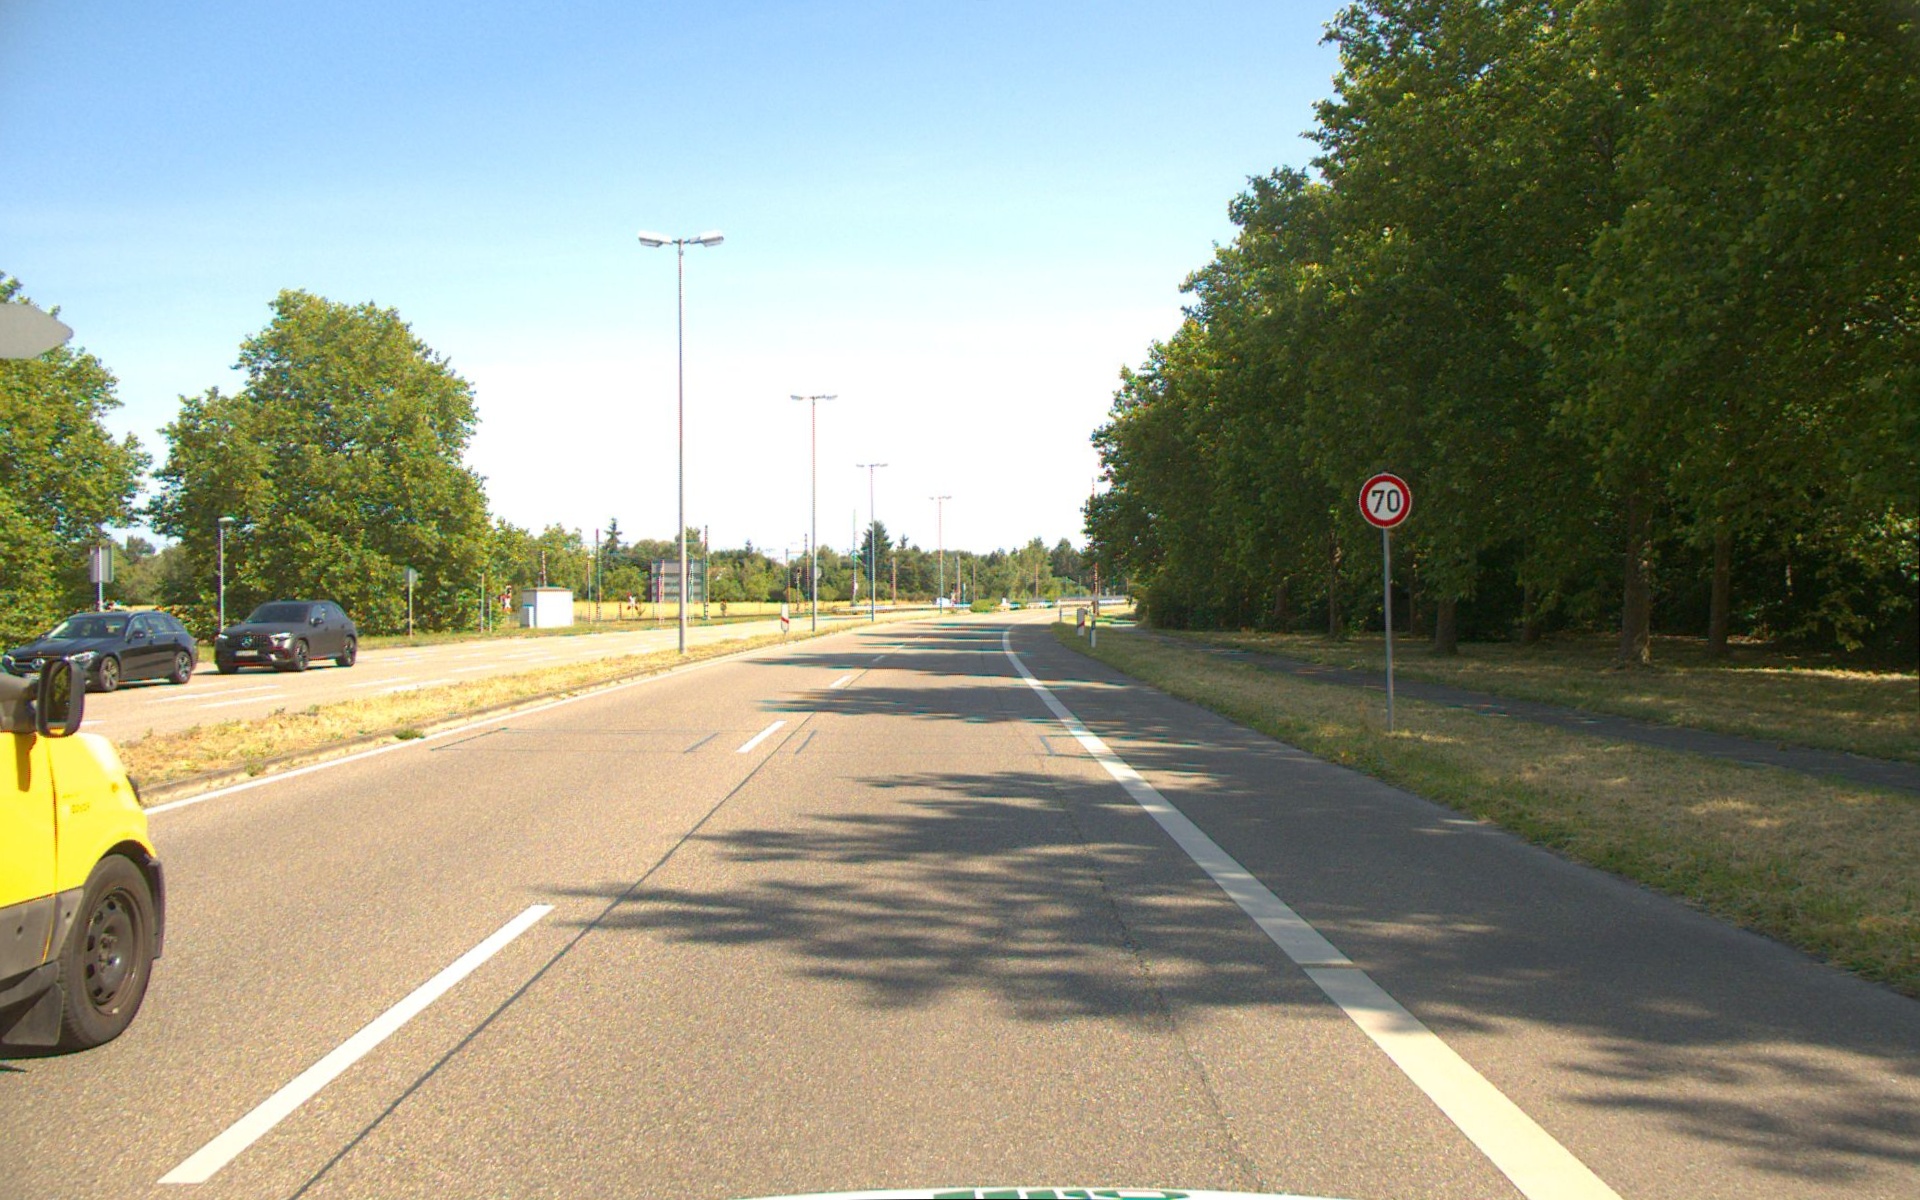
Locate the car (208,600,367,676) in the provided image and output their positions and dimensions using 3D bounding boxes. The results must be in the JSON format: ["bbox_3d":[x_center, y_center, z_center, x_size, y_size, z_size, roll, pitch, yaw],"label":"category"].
[{"bbox_3d":[-15.995,0.865,39.599,1.942,1.689,4.554,-1,0,0],"label":"car"}]

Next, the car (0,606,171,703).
[{"bbox_3d":[-16.202,0.907,29.314,2.028,1.555,4.686,-1,0,3],"label":"car"}]

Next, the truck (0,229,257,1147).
[{"bbox_3d":[-3.616,0.235,3.250,2.069,2.500,5.915,0,0,-2],"label":"truck"}]
